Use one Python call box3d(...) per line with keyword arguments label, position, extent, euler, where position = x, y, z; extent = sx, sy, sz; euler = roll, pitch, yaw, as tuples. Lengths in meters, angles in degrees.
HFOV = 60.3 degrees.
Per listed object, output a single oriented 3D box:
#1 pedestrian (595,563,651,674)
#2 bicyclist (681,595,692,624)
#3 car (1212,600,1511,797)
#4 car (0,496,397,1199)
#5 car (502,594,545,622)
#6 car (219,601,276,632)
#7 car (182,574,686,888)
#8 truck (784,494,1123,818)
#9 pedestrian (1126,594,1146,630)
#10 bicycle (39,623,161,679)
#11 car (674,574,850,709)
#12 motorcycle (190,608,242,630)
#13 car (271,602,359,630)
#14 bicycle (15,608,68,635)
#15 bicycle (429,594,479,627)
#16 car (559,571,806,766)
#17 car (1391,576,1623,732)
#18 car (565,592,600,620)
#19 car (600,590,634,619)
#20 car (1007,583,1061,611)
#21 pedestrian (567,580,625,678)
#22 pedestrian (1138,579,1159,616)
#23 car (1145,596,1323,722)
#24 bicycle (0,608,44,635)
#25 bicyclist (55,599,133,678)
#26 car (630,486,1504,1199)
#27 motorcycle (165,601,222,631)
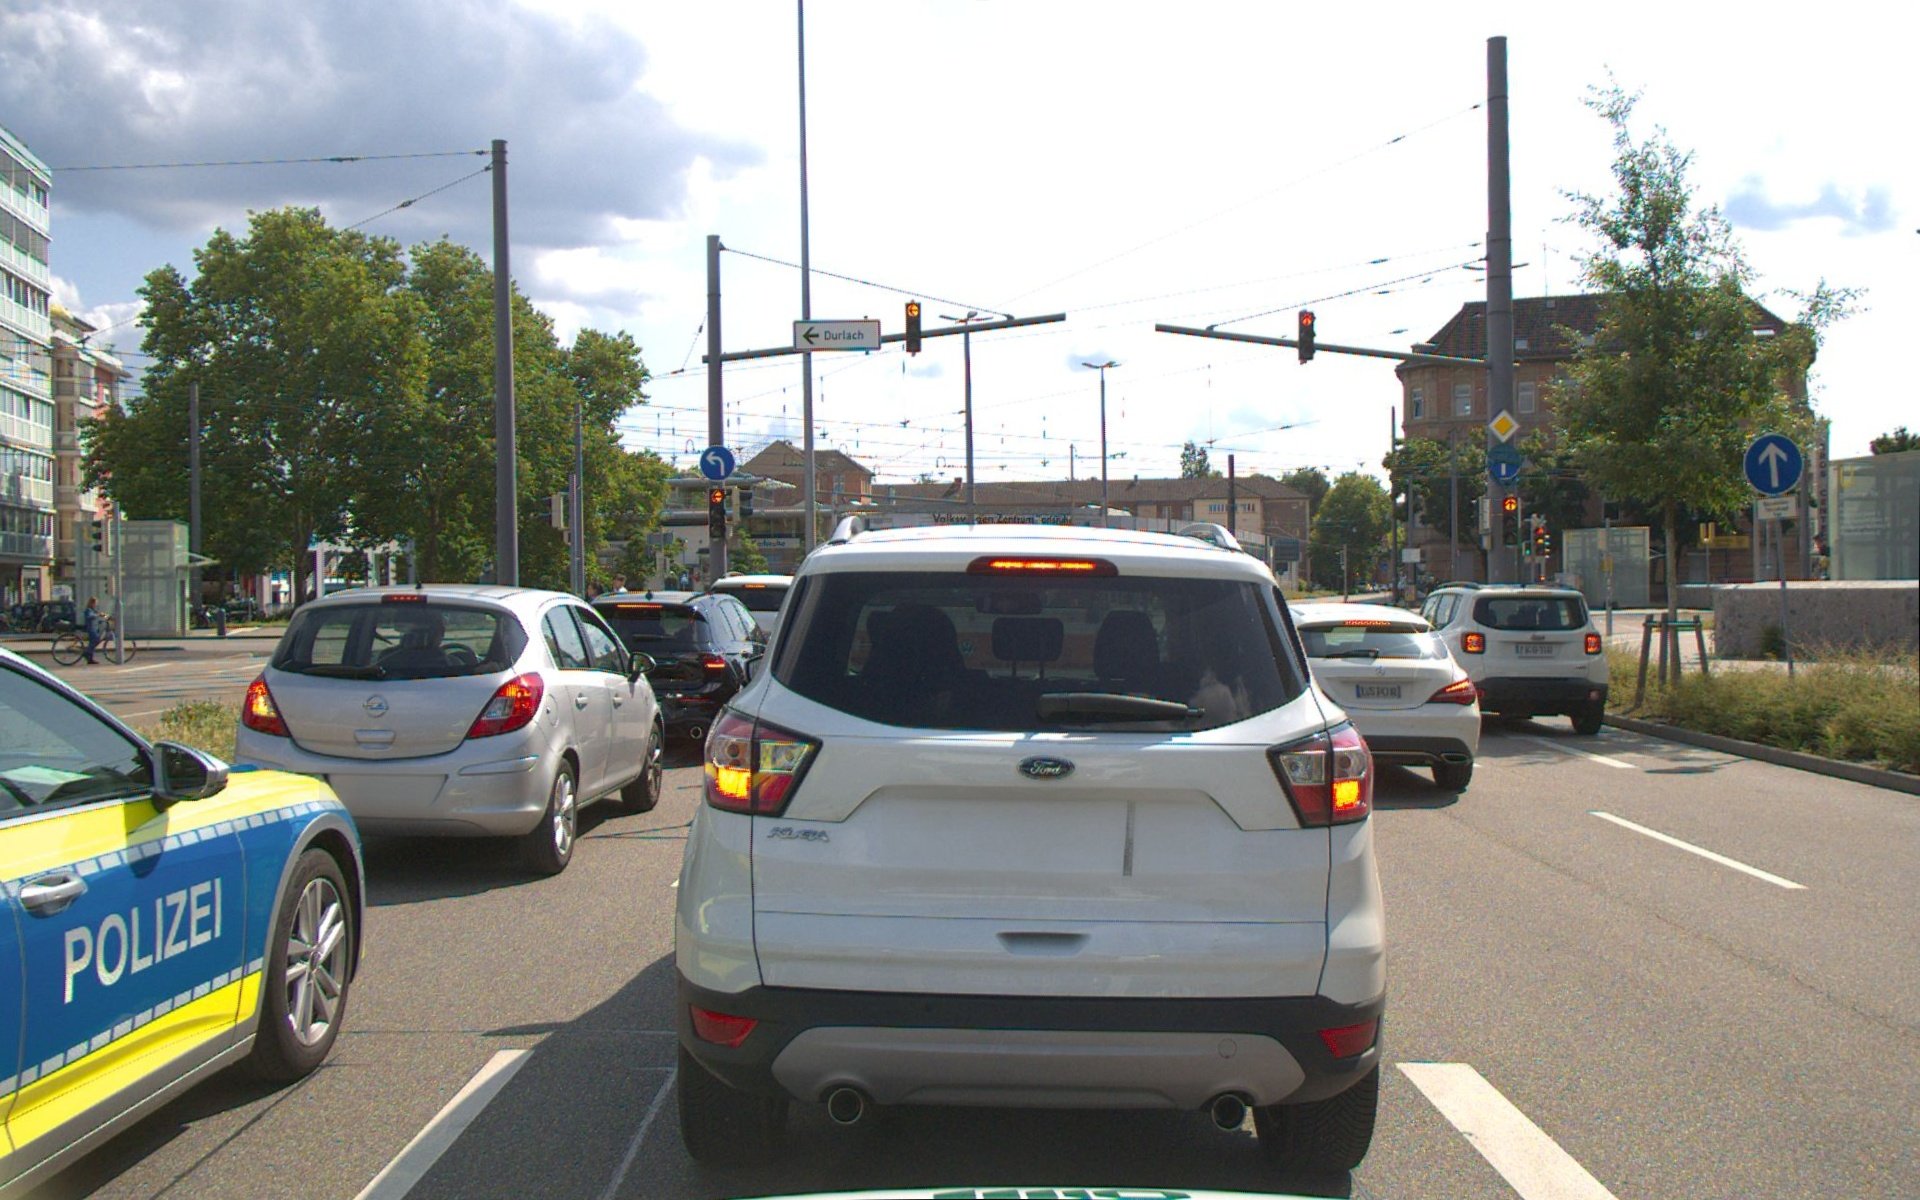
box3d(label="pedestrian", position=(-6.052, 0.328, 29.726), extent=(0.830, 1.950, 0.692), euler=(-1, -1, -1))
box3d(label="bicyclist", position=(-17.196, 0.605, 104.000), extent=(0.625, 1.768, 0.661), euler=(0, 1, -3))
box3d(label="car", position=(3.247, 0.725, 14.058), extent=(1.811, 1.443, 3.680), euler=(0, 0, 3))
box3d(label="car", position=(-2.765, 0.609, 3.241), extent=(1.842, 1.595, 4.614), euler=(-1, 0, -2))
box3d(label="car", position=(-32.729, 0.638, 124.243), extent=(1.928, 1.971, 5.067), euler=(-2, -1, -1))
box3d(label="car", position=(-35.676, 0.842, 82.897), extent=(1.872, 1.438, 3.987), euler=(-1, -1, -12))
box3d(label="car", position=(-2.877, 0.629, 10.019), extent=(1.810, 1.500, 3.999), euler=(-1, 0, -1))
box3d(label="truck", position=(-0.017, 0.366, 14.146), extent=(2.291, 2.193, 5.852), euler=(0, 0, 0))
box3d(label="pedestrian", position=(8.646, 0.594, 81.156), extent=(0.578, 1.774, 0.922), euler=(0, -1, 39))
box3d(label="bicycle", position=(-19.832, 1.162, 38.169), extent=(2.248, 1.209, 0.994), euler=(-1, 0, -4))
box3d(label="car", position=(-2.521, 0.494, 22.079), extent=(1.999, 1.606, 4.537), euler=(0, 0, -3))
box3d(label="motorcycle", position=(-34.313, 0.874, 76.316), extent=(0.795, 0.933, 2.037), euler=(0, 1, 36))
box3d(label="car", position=(-33.566, 0.837, 86.080), extent=(3.907, 1.350, 1.632), euler=(-2, -1, -3))
box3d(label="bicycle", position=(-40.705, 0.956, 73.303), extent=(1.914, 1.167, 0.792), euler=(-1, 0, -19))
box3d(label="bicycle", position=(-22.788, 0.466, 74.579), extent=(2.133, 1.439, 0.809), euler=(0, 1, -16))
box3d(label="car", position=(-2.511, 0.552, 15.993), extent=(1.727, 1.595, 4.525), euler=(-1, 0, -2))
box3d(label="car", position=(6.450, 0.593, 19.940), extent=(1.797, 1.681, 4.002), euler=(0, 0, 5))
box3d(label="car", position=(-28.151, 0.475, 123.463), extent=(1.929, 1.971, 4.226), euler=(-2, -1, -5))
box3d(label="car", position=(-25.544, 0.347, 123.248), extent=(1.955, 2.049, 4.226), euler=(-2, -1, -5))
box3d(label="car", position=(4.226, -0.199, 93.755), extent=(1.860, 1.487, 3.969), euler=(-2, 0, 21))
box3d(label="pedestrian", position=(-6.354, 0.507, 28.904), extent=(0.830, 1.676, 0.692), euler=(-1, -1, -1))
box3d(label="pedestrian", position=(9.185, -0.135, 80.628), extent=(0.578, 1.774, 0.922), euler=(0, -1, 40))
box3d(label="car", position=(3.354, 0.676, 20.861), extent=(1.811, 1.443, 3.680), euler=(0, 0, 3))
box3d(label="bicycle", position=(-40.951, 0.932, 71.996), extent=(1.776, 1.167, 0.792), euler=(-1, 0, -19))
box3d(label="bicyclist", position=(-19.967, 0.869, 38.159), extent=(1.271, 1.761, 0.994), euler=(-1, 0, -3))
box3d(label="car", position=(0.309, 0.615, 5.386), extent=(1.789, 1.693, 3.957), euler=(0, 0, 3))
box3d(label="motorcycle", position=(-33.147, 0.686, 71.491), extent=(2.165, 1.259, 0.906), euler=(-1, 1, 17))
